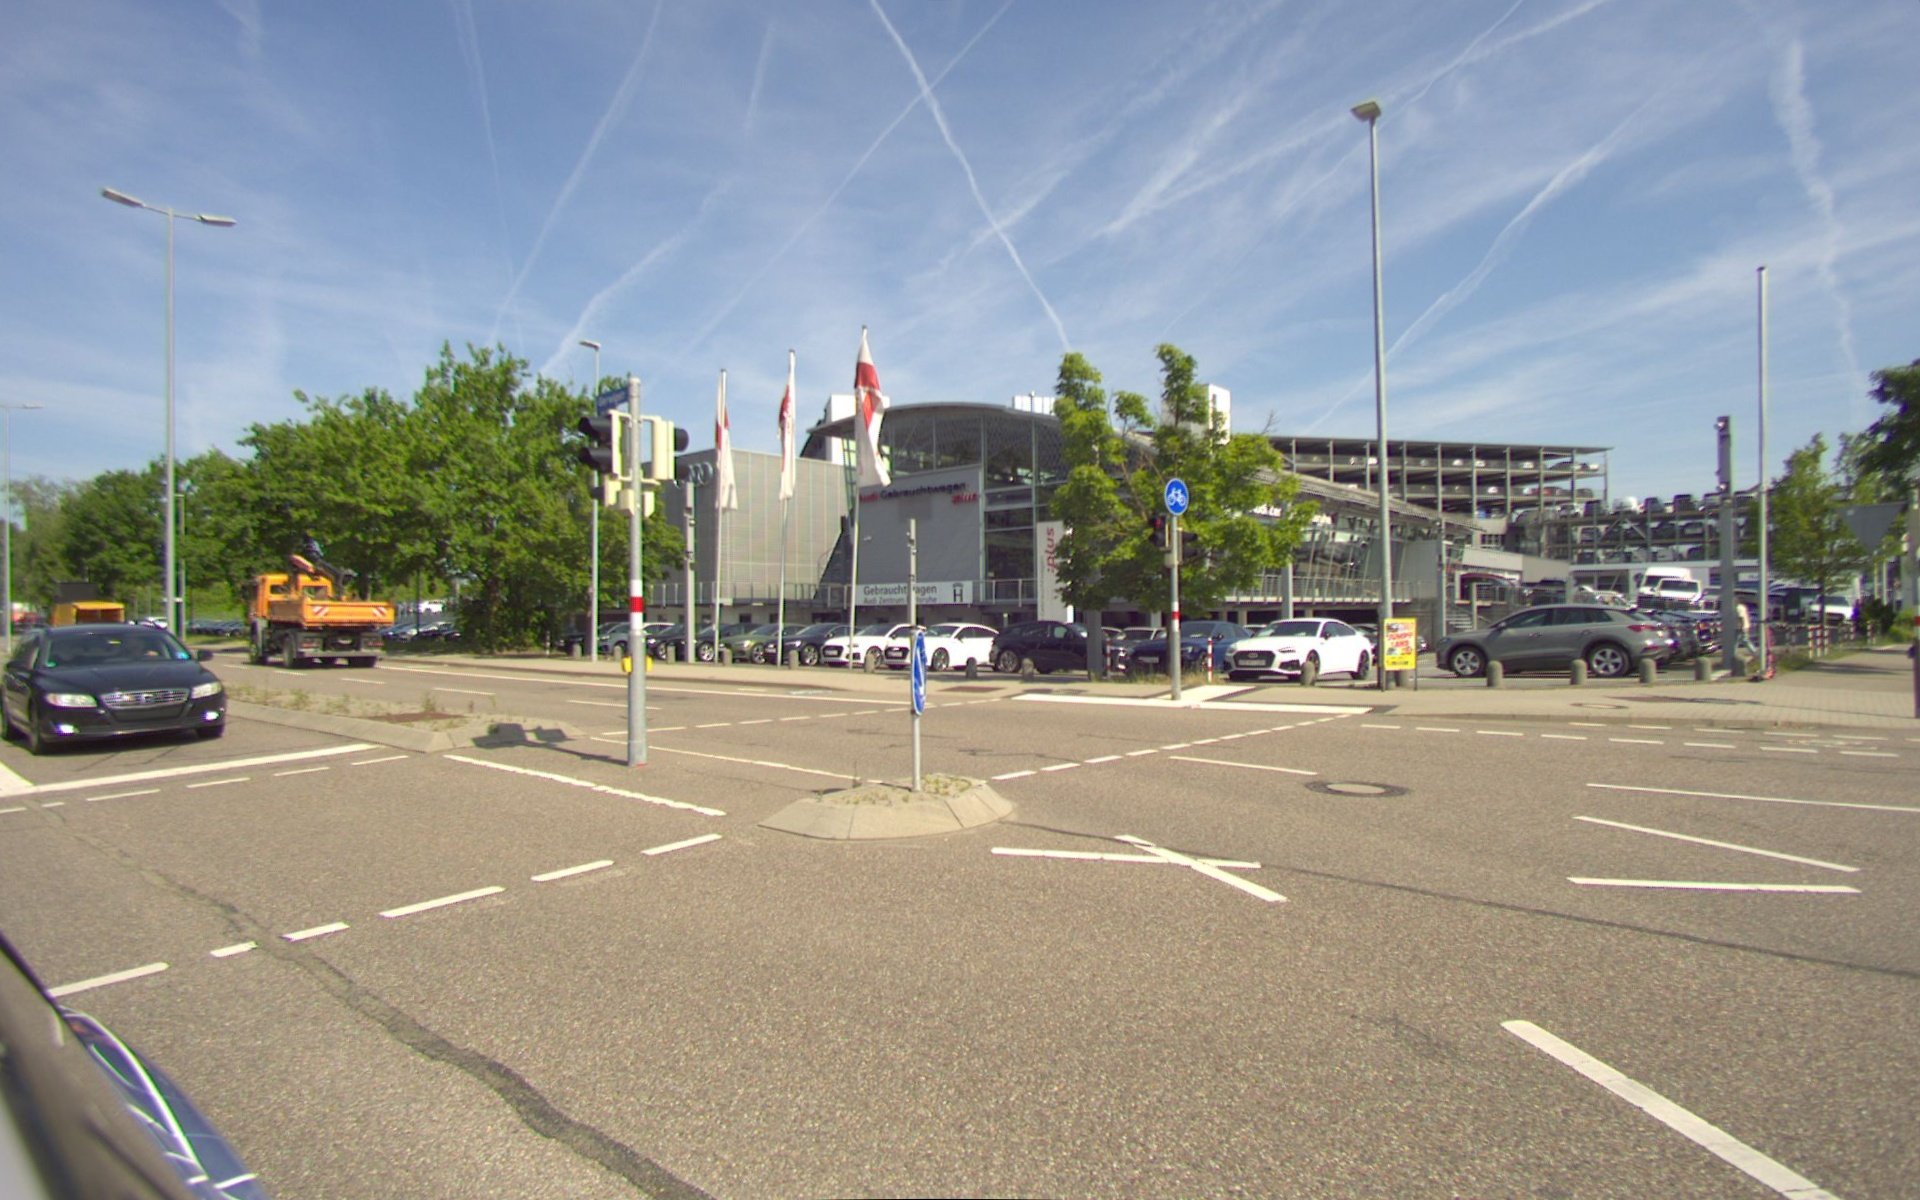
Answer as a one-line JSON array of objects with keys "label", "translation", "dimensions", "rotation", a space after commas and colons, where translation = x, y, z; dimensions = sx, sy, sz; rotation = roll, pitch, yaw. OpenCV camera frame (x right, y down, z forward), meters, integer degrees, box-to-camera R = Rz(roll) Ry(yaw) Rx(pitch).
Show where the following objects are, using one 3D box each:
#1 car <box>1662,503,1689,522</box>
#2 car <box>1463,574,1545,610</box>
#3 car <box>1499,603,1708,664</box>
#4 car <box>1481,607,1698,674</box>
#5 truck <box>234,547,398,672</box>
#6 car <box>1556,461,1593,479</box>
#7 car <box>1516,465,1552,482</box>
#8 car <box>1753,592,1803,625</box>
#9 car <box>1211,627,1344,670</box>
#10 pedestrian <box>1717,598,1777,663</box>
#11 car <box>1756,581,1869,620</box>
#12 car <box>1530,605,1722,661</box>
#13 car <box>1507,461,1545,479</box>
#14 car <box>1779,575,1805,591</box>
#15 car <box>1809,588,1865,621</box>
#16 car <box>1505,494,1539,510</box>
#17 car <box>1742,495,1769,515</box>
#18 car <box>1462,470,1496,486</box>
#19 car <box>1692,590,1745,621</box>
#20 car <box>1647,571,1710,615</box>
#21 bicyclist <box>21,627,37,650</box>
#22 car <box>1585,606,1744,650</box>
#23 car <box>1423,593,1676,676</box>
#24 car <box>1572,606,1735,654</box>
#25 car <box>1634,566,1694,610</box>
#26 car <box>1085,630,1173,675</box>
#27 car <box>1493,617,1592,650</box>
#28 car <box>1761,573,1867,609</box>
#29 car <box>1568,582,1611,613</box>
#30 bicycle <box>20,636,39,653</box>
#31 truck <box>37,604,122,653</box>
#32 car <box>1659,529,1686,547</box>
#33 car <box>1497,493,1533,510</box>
[{"label": "car", "translation": [82.747, -10.081, 117.001], "dimensions": [2.037, 1.729, 3.944], "rotation": [-1, -1, 42]}, {"label": "car", "translation": [33.129, -0.443, 61.675], "dimensions": [4.067, 2.029, 1.828], "rotation": [-1, -2, 40]}, {"label": "car", "translation": [18.310, 0.999, 28.943], "dimensions": [4.774, 1.517, 1.769], "rotation": [-5, -4, 41]}, {"label": "car", "translation": [15.228, 1.011, 24.591], "dimensions": [4.197, 1.453, 1.769], "rotation": [-5, -4, 41]}, {"label": "truck", "translation": [-21.493, 0.381, 33.603], "dimensions": [7.579, 3.708, 2.716], "rotation": [-1, -3, 43]}, {"label": "car", "translation": [80.476, -16.987, 132.536], "dimensions": [3.993, 1.729, 2.012], "rotation": [-1, -1, 37]}, {"label": "car", "translation": [77.488, -17.008, 136.643], "dimensions": [3.993, 1.729, 2.012], "rotation": [-1, -1, 37]}, {"label": "car", "translation": [43.582, 0.446, 53.940], "dimensions": [1.998, 1.586, 3.934], "rotation": [-1, 0, 39]}, {"label": "car", "translation": [11.082, 1.663, 35.453], "dimensions": [4.063, 1.389, 1.769], "rotation": [-1, -1, 41]}, {"label": "pedestrian", "translation": [21.761, 0.835, 27.997], "dimensions": [0.901, 1.763, 1.006], "rotation": [0, -1, -30]}, {"label": "car", "translation": [47.622, 0.063, 56.653], "dimensions": [4.748, 2.029, 1.973], "rotation": [-1, -2, 40]}, {"label": "car", "translation": [20.288, 1.033, 30.949], "dimensions": [4.671, 1.529, 1.760], "rotation": [-4, -3, 41]}, {"label": "car", "translation": [73.300, -16.871, 131.083], "dimensions": [3.993, 1.729, 2.012], "rotation": [-1, -1, 37]}, {"label": "car", "translation": [92.944, -1.872, 113.076], "dimensions": [2.037, 1.729, 3.944], "rotation": [-1, -1, 42]}, {"label": "car", "translation": [45.370, 0.217, 52.423], "dimensions": [1.998, 1.586, 3.934], "rotation": [-1, 1, 39]}, {"label": "car", "translation": [77.680, -13.540, 139.892], "dimensions": [3.993, 1.729, 2.012], "rotation": [-1, -1, 37]}, {"label": "car", "translation": [85.863, -10.209, 109.220], "dimensions": [2.037, 1.729, 3.944], "rotation": [-1, -1, 42]}, {"label": "car", "translation": [71.418, -16.753, 139.287], "dimensions": [3.993, 1.729, 2.012], "rotation": [-1, -1, 37]}, {"label": "car", "translation": [41.902, 0.275, 55.882], "dimensions": [2.000, 1.586, 3.931], "rotation": [-2, 0, 42]}, {"label": "car", "translation": [34.088, -0.375, 47.989], "dimensions": [2.087, 1.922, 4.488], "rotation": [3, 3, 39]}, {"label": "bicyclist", "translation": [-66.663, 2.762, 72.472], "dimensions": [0.907, 1.608, 0.572], "rotation": [-1, -2, 33]}, {"label": "car", "translation": [25.600, 1.043, 36.877], "dimensions": [4.556, 1.453, 1.769], "rotation": [-4, -3, 41]}, {"label": "car", "translation": [13.201, 0.825, 22.855], "dimensions": [4.594, 1.626, 1.794], "rotation": [-5, -4, 42]}, {"label": "car", "translation": [23.831, 1.058, 34.857], "dimensions": [4.399, 1.453, 1.769], "rotation": [-4, -3, 41]}, {"label": "car", "translation": [40.110, -0.698, 57.593], "dimensions": [2.088, 2.360, 5.474], "rotation": [-2, -1, 42]}, {"label": "car", "translation": [6.221, 1.884, 37.112], "dimensions": [1.659, 1.484, 3.472], "rotation": [-2, -1, 40]}, {"label": "car", "translation": [27.002, 1.538, 46.902], "dimensions": [3.958, 1.453, 1.803], "rotation": [0, -1, -20]}, {"label": "car", "translation": [51.088, -0.489, 60.620], "dimensions": [4.748, 2.029, 1.973], "rotation": [-1, -2, 40]}, {"label": "car", "translation": [42.623, -0.155, 68.479], "dimensions": [1.852, 2.029, 4.014], "rotation": [-2, -2, 41]}, {"label": "bicycle", "translation": [-66.653, 3.169, 72.459], "dimensions": [1.764, 1.159, 0.566], "rotation": [-1, -2, 33]}, {"label": "truck", "translation": [-50.253, 1.621, 57.710], "dimensions": [6.662, 2.645, 2.353], "rotation": [-2, -1, 37]}, {"label": "car", "translation": [82.246, -7.169, 116.819], "dimensions": [2.037, 1.729, 3.944], "rotation": [-1, -1, 42]}, {"label": "car", "translation": [73.214, -13.021, 133.637], "dimensions": [2.003, 1.729, 4.010], "rotation": [0, -1, -13]}]
